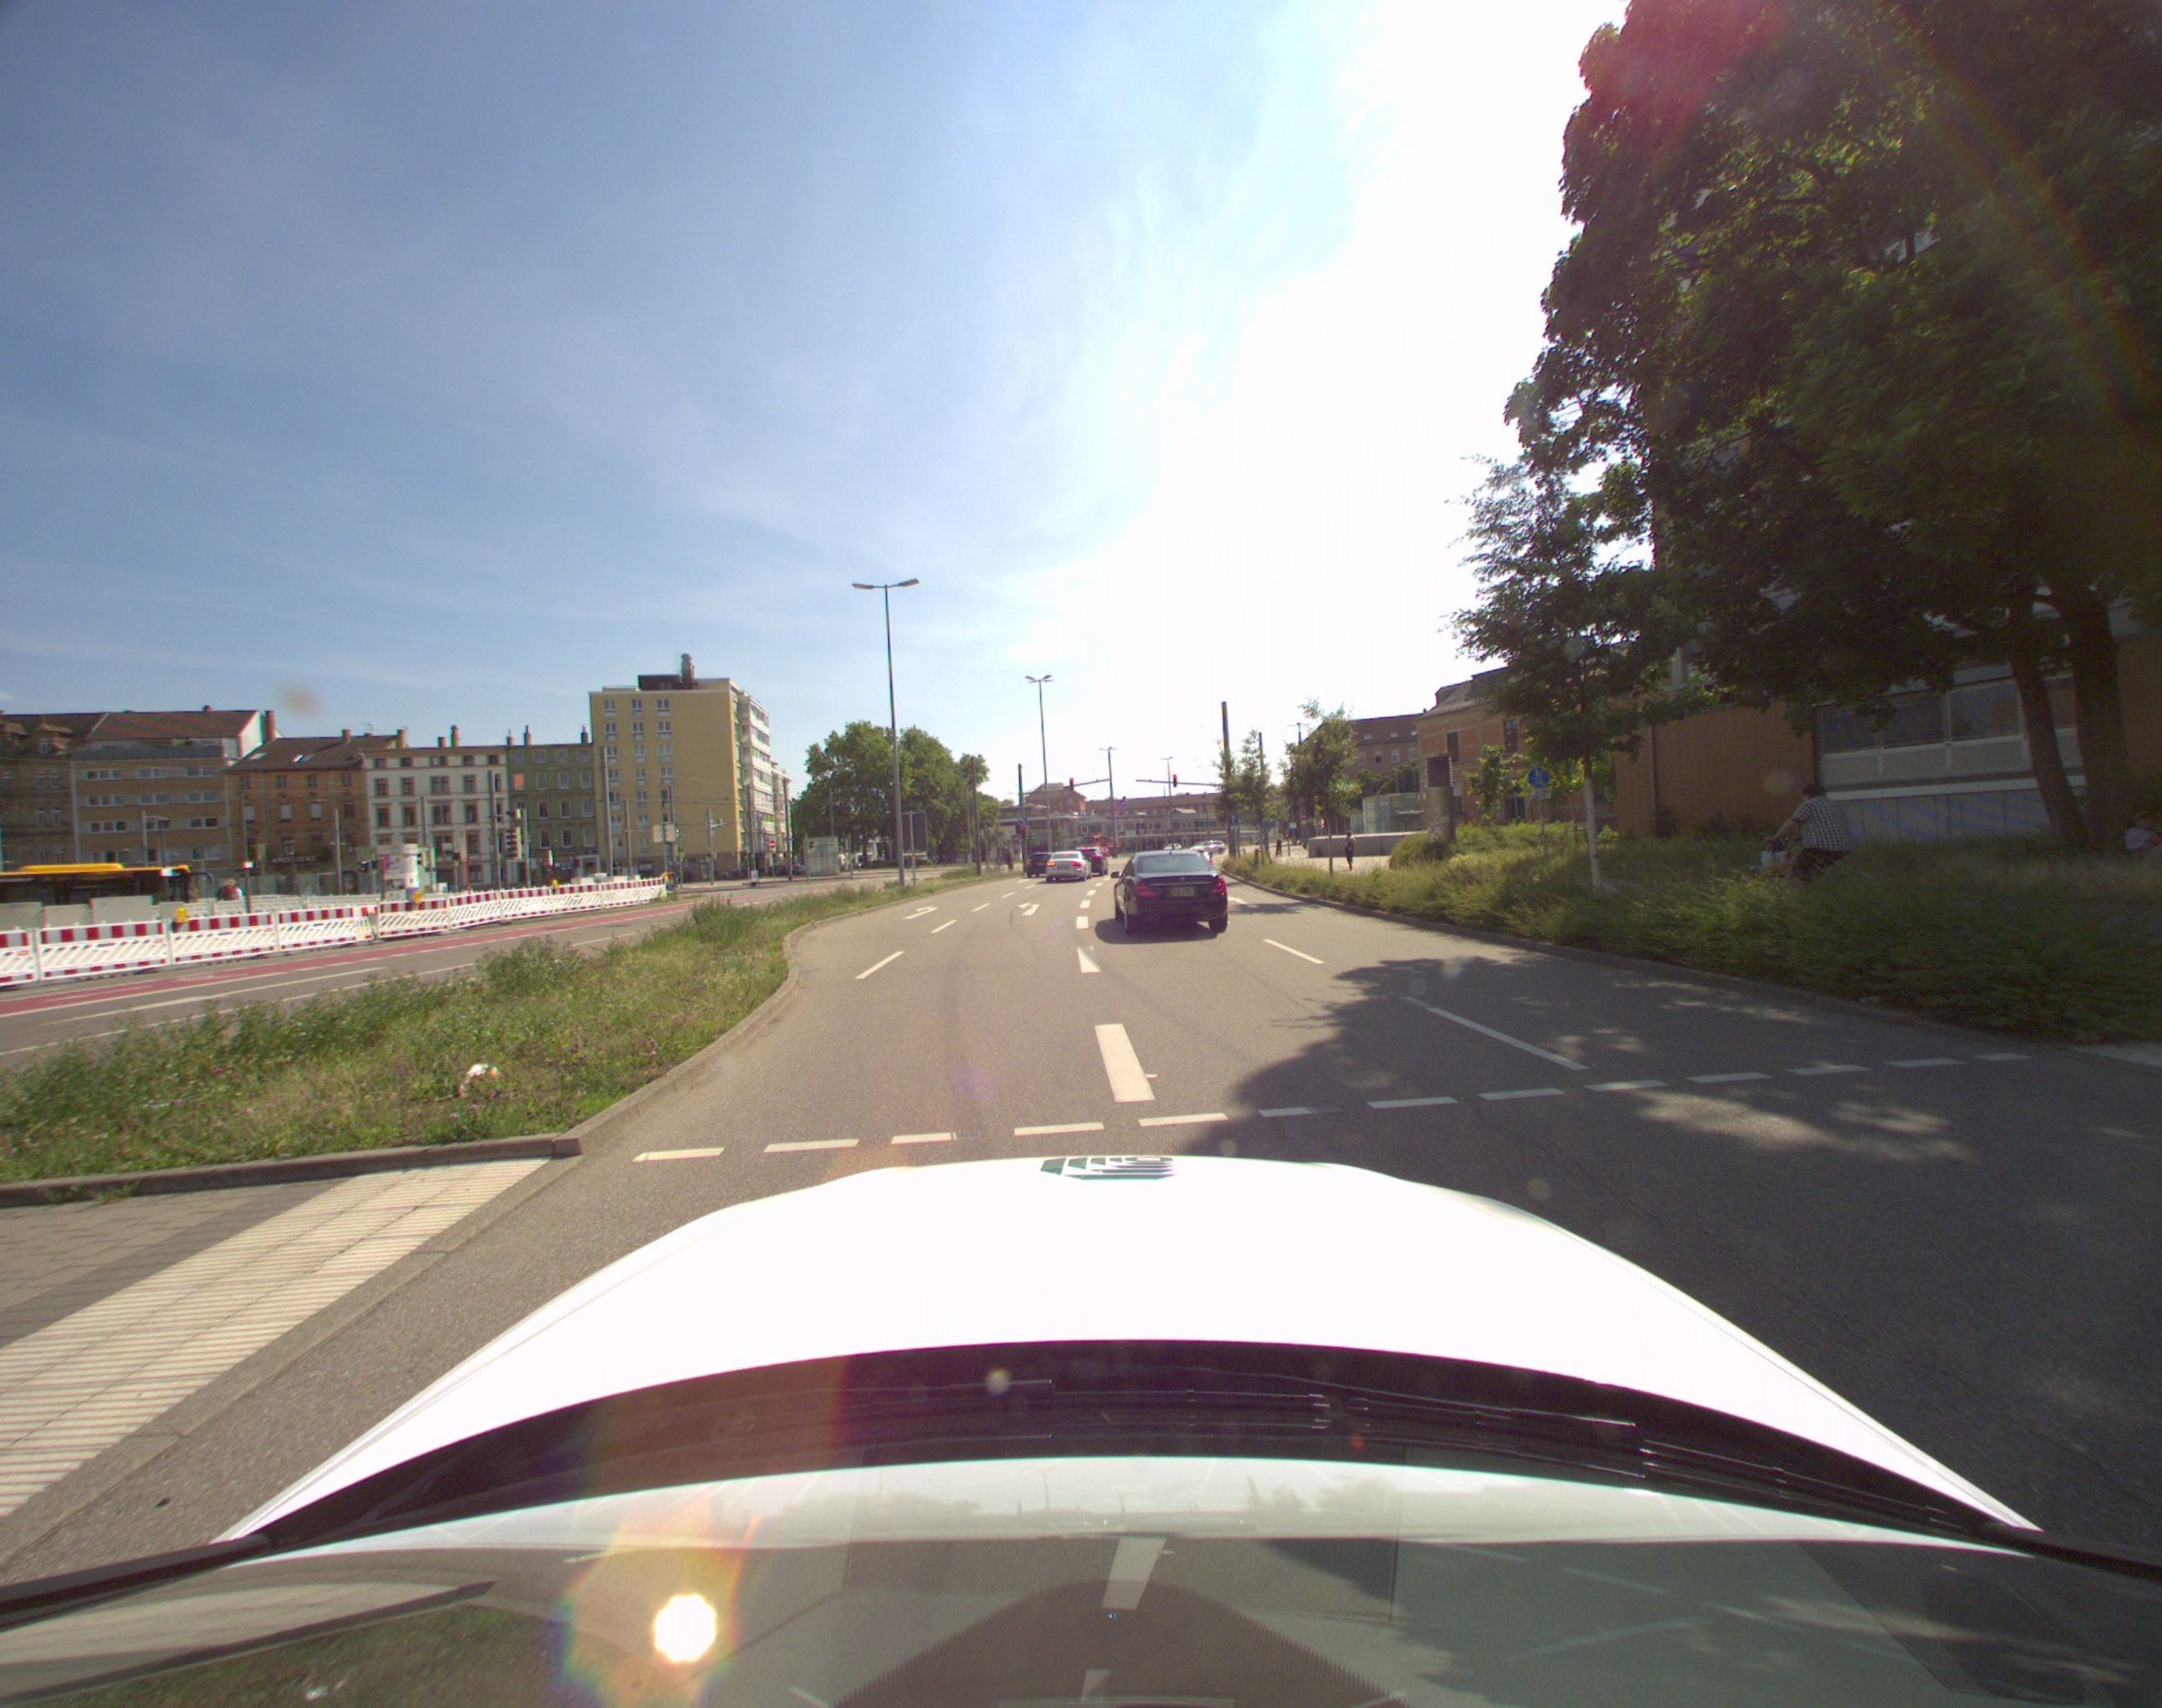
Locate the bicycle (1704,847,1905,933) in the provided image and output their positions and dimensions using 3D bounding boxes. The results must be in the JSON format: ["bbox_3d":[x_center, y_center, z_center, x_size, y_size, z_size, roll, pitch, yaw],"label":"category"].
[{"bbox_3d":[9.283,0.427,10.584,0.691,0.946,1.954,-6,0,-5],"label":"bicycle"}]

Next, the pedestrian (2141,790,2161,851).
[{"bbox_3d":[16.240,-0.508,12.110,0.392,0.892,0.427,-3,0,-12],"label":"pedestrian"}]

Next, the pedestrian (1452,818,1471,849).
[{"bbox_3d":[21.467,-1.146,45.948,0.649,1.661,0.647,-3,0,-14],"label":"pedestrian"}]

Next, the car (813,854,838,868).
[{"bbox_3d":[-43.805,1.218,139.848,3.997,2.013,1.989,-3,3,-18],"label":"car"}]

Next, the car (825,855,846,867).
[{"bbox_3d":[-49.655,1.365,164.621,3.997,2.013,1.989,-3,3,-18],"label":"car"}]

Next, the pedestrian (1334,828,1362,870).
[{"bbox_3d":[11.374,-0.219,34.680,0.867,1.725,0.800,-3,0,1],"label":"pedestrian"}]

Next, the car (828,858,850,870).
[{"bbox_3d":[-47.608,1.959,160.145,3.997,2.013,1.989,-3,3,-18],"label":"car"}]

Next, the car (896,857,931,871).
[{"bbox_3d":[-20.344,1.237,99.150,3.989,1.510,1.793,-3,0,-11],"label":"car"}]

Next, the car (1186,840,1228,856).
[{"bbox_3d":[13.627,-0.667,88.100,4.291,1.510,1.782,-3,0,-31],"label":"car"}]

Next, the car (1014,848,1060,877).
[{"bbox_3d":[-2.550,0.494,48.026,1.783,1.510,4.011,-3,0,9],"label":"car"}]

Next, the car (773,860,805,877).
[{"bbox_3d":[-40.451,2.019,112.813,3.997,2.013,1.989,-3,3,-18],"label":"car"}]

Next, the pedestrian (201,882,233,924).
[{"bbox_3d":[-35.139,1.988,33.116,0.642,1.661,0.654,-3,0,23],"label":"pedestrian"}]

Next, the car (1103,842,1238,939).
[{"bbox_3d":[1.592,0.652,16.229,1.855,1.530,4.708,-3,-1,-3],"label":"car"}]

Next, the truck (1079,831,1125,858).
[{"bbox_3d":[3.272,-1.478,124.198,3.034,3.730,7.981,-3,0,32],"label":"truck"}]

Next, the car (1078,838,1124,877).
[{"bbox_3d":[1.208,0.173,46.487,1.981,2.013,4.011,-3,0,9],"label":"car"}]

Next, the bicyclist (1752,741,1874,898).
[{"bbox_3d":[9.254,-0.422,10.329,0.684,1.878,0.858,-3,0,-5],"label":"bicyclist"}]

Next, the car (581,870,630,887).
[{"bbox_3d":[-50.416,2.607,86.409,1.777,1.510,4.025,-3,0,42],"label":"car"}]

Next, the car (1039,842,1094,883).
[{"bbox_3d":[-0.654,0.374,40.125,1.982,1.815,4.009,-3,0,8],"label":"car"}]

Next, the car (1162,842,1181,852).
[{"bbox_3d":[15.531,-1.234,139.223,1.777,1.510,4.025,-3,0,28],"label":"car"}]

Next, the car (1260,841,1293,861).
[{"bbox_3d":[16.458,-0.278,68.445,1.778,1.510,4.302,-3,0,25],"label":"car"}]

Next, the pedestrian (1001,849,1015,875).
[{"bbox_3d":[-4.833,0.542,53.947,0.643,1.661,0.666,-3,0,12],"label":"pedestrian"}]

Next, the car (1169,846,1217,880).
[{"bbox_3d":[5.375,0.393,39.431,1.788,1.510,4.001,-2,0,1],"label":"car"}]

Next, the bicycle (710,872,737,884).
[{"bbox_3d":[-42.497,2.877,96.799,2.820,1.222,0.988,-3,3,-16],"label":"bicycle"}]
